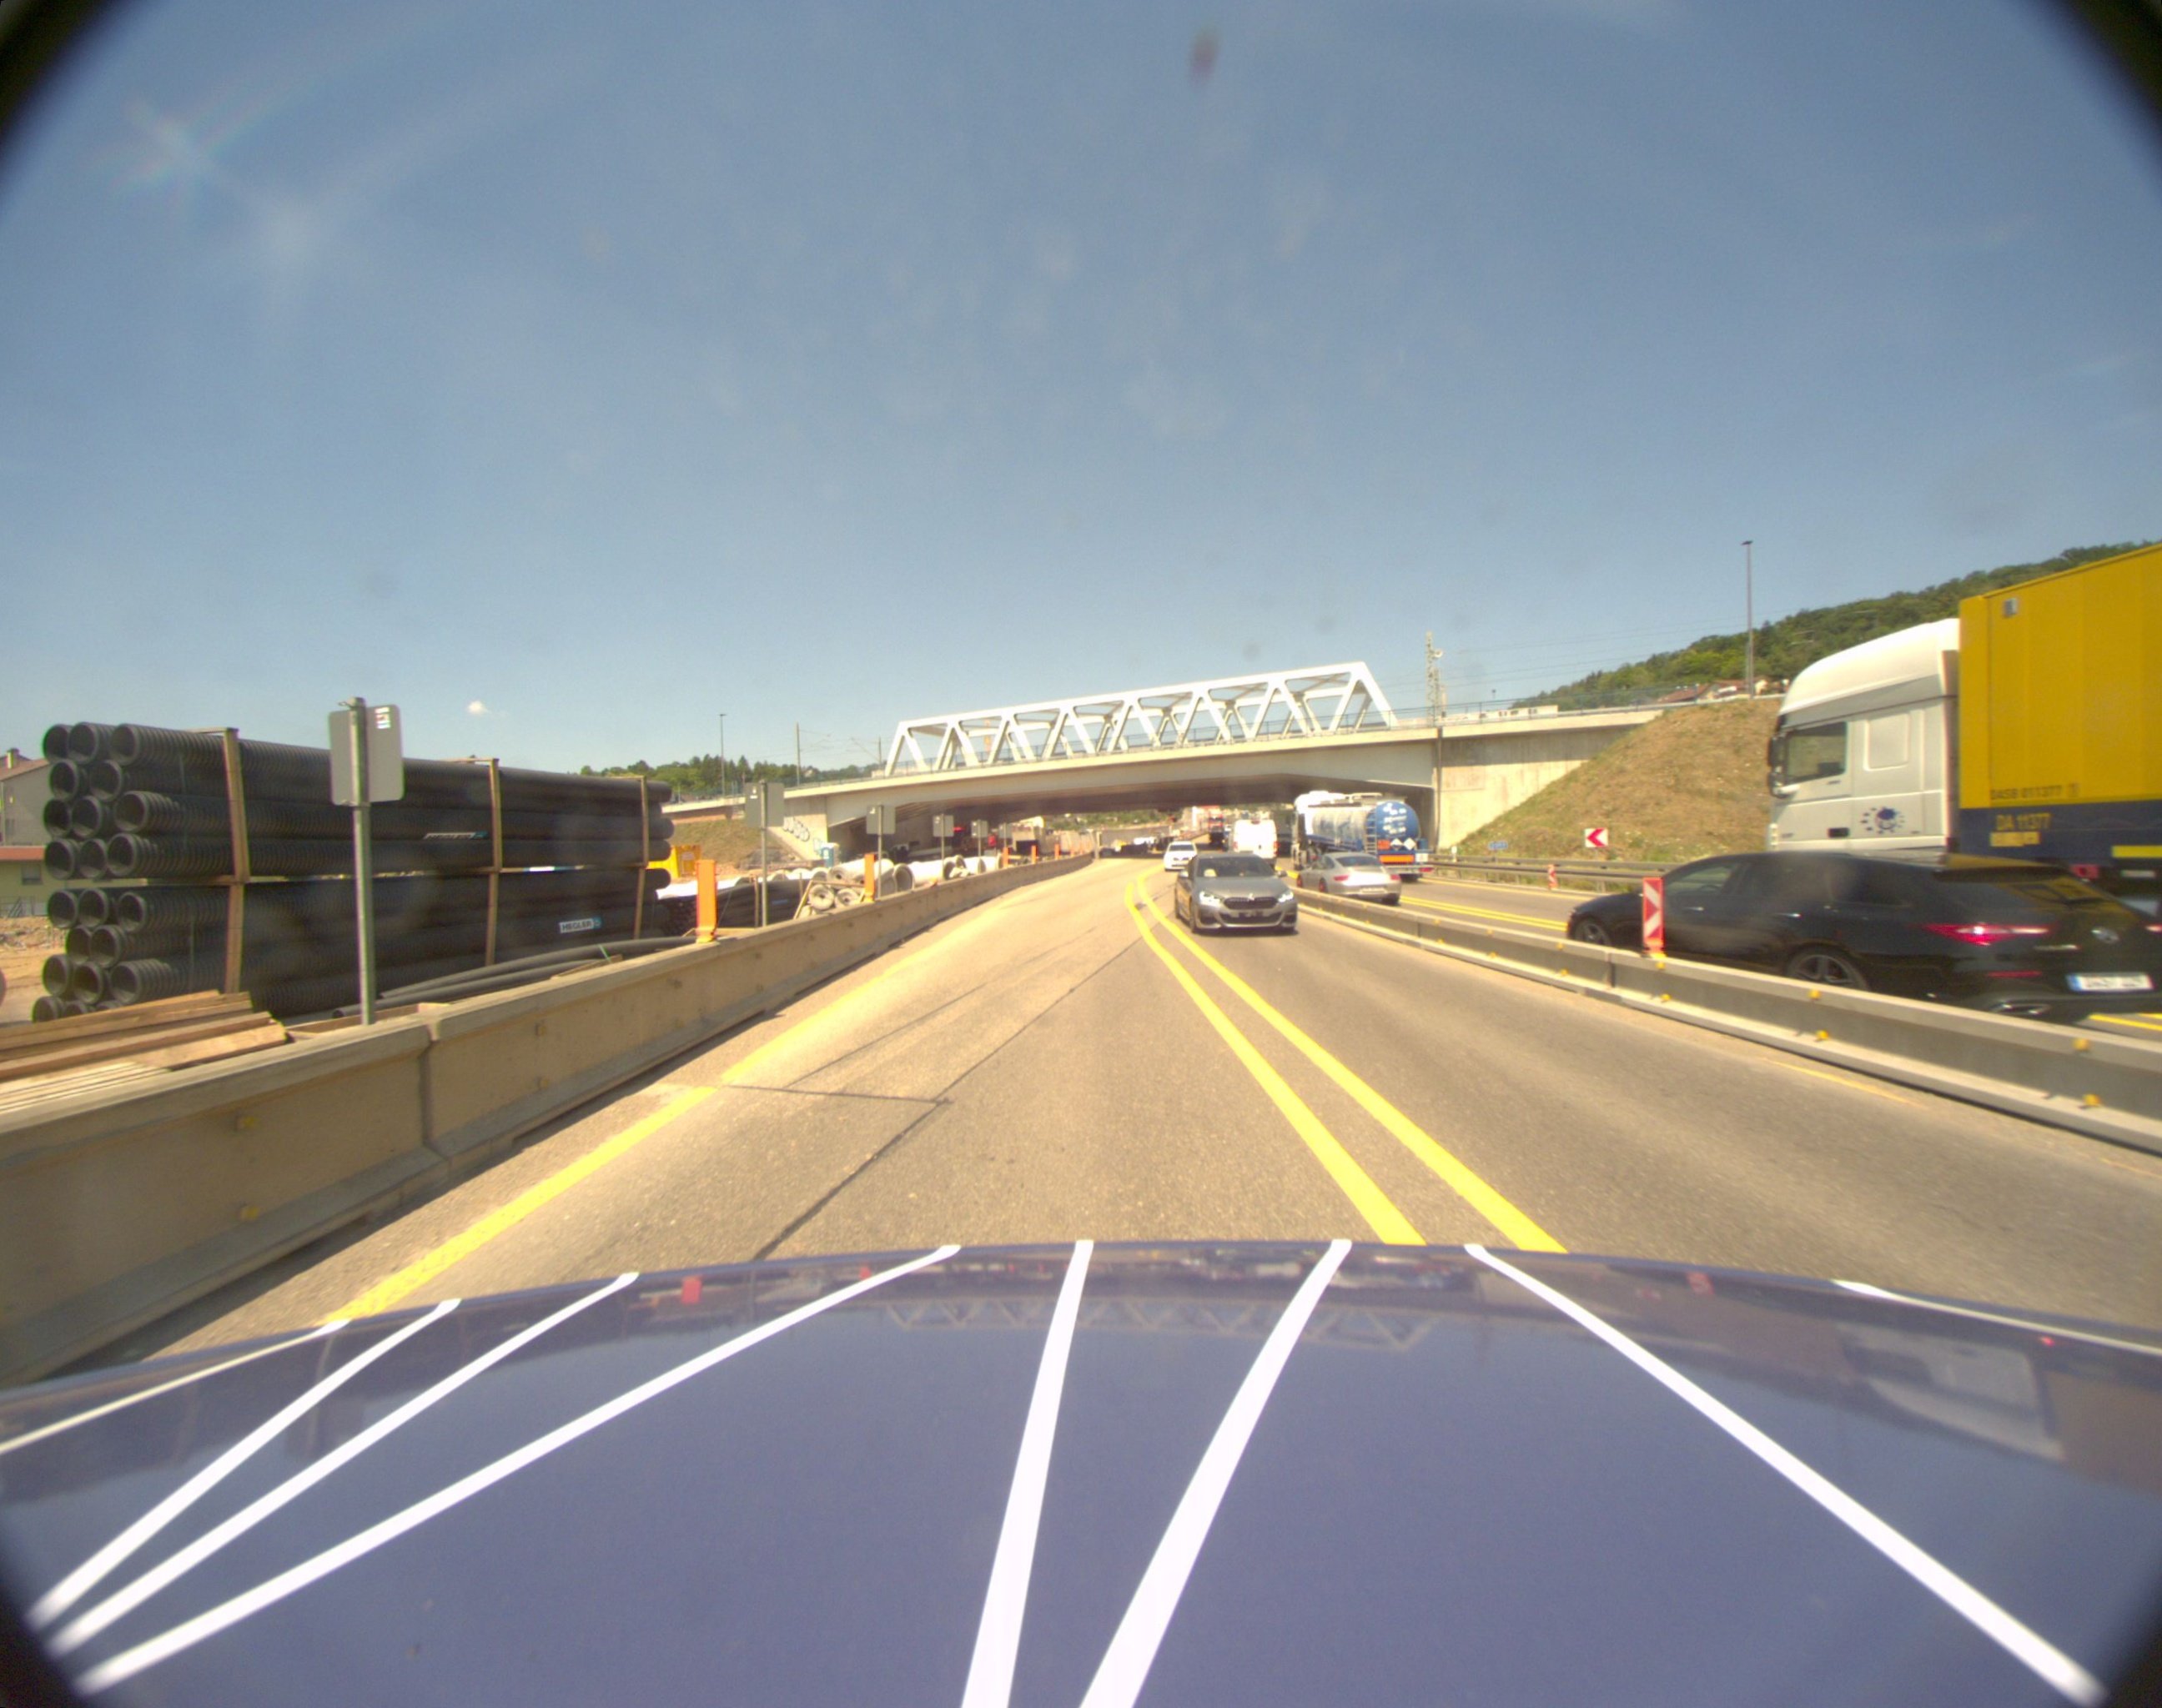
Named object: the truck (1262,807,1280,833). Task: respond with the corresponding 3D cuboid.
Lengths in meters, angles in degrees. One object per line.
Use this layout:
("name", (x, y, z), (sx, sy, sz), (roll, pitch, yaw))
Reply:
("truck", (34.425, -6.337, 138.266), (2.773, 4.291, 13.494), (-1, 4, 12))

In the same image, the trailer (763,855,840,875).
("trailer", (-19.818, 0.752, 54.021), (4.720, 1.213, 2.056), (-1, 4, 14))

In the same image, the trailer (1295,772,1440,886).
("trailer", (11.143, -0.994, 30.856), (2.531, 3.768, 10.244), (-2, 2, 4))

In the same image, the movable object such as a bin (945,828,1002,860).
("movable object such as a bin", (-11.439, -1.039, 80.899), (5.246, 3.040, 2.498), (-2, 4, 18))

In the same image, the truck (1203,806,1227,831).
("truck", (24.032, -6.375, 135.507), (3.459, 4.026, 10.215), (-1, 4, 14))

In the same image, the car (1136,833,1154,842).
("car", (13.842, -3.659, 164.341), (3.867, 1.677, 1.693), (-3, 3, 9))

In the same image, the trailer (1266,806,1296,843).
("trailer", (24.189, -3.602, 92.444), (2.881, 4.017, 14.366), (-2, 2, 13))

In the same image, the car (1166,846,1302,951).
("car", (2.762, 0.708, 14.664), (1.838, 1.588, 4.388), (-1, 2, 2))

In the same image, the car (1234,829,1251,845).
("car", (17.935, -1.875, 84.128), (1.749, 1.661, 4.081), (-1, 2, 13))

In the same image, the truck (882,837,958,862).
("truck", (-15.330, -0.426, 72.546), (6.529, 2.062, 2.668), (-2, 2, 17))

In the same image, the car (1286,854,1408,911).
("car", (6.784, 0.666, 19.881), (1.681, 1.257, 4.335), (-2, 0, 0))

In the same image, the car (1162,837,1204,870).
("car", (5.403, -0.061, 40.003), (1.836, 1.466, 4.391), (-1, 4, 12))

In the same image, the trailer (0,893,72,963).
("trailer", (-25.252, 1.759, 16.365), (1.626, 1.478, 3.828), (-2, 2, 10))

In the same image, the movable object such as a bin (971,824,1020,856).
("movable object such as a bin", (-9.841, -1.644, 87.966), (4.559, 3.269, 2.992), (-2, 4, 18))

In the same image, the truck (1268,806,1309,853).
("truck", (17.348, -2.074, 63.925), (2.821, 3.555, 8.503), (-1, 2, 12))

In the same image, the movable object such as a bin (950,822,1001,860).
("movable object such as a bin", (-10.629, -1.342, 76.455), (3.884, 3.524, 2.906), (-2, 4, 25))

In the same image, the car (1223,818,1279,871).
("car", (8.777, -0.562, 39.721), (2.075, 2.489, 6.484), (-1, 2, 6))

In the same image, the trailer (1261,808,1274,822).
("trailer", (54.497, -11.560, 221.962), (2.658, 3.796, 11.829), (0, 4, 19))

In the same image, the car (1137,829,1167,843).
("car", (15.654, -3.958, 167.718), (6.302, 2.567, 2.054), (-4, 2, 1))

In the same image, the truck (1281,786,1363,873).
("truck", (11.548, -1.175, 36.823), (2.539, 3.800, 4.949), (-2, 2, 3))

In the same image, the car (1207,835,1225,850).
("car", (14.961, -1.326, 84.316), (1.799, 1.543, 4.001), (-1, 2, 8))

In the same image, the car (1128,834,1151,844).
("car", (12.411, -3.157, 161.474), (4.798, 1.759, 1.720), (-3, 2, 8))

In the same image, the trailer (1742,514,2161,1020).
("trailer", (10.463, -0.772, 7.807), (2.873, 4.205, 5.218), (-1, 1, 1))

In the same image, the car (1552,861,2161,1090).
("car", (6.631, 0.791, 7.071), (1.681, 1.354, 4.502), (-2, 0, 0))
